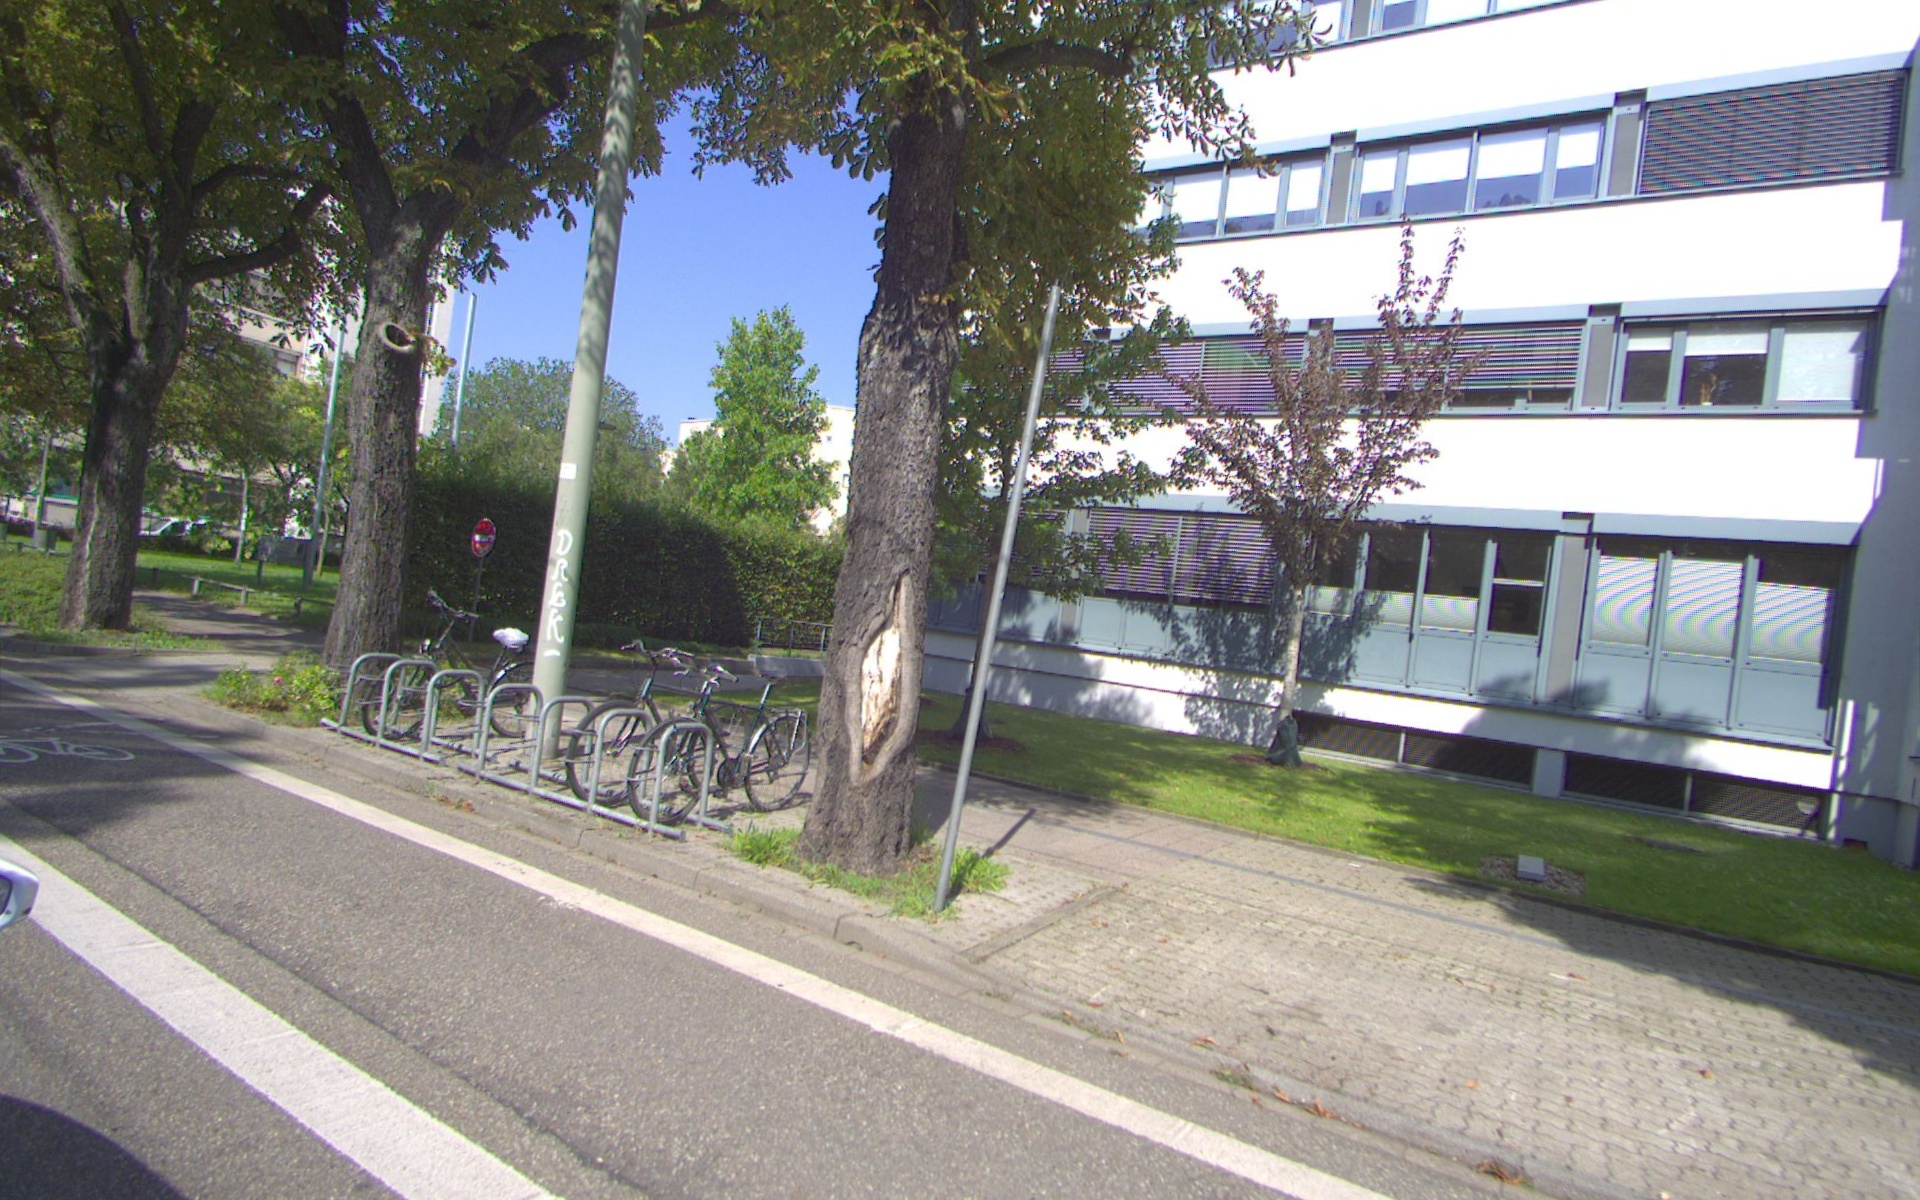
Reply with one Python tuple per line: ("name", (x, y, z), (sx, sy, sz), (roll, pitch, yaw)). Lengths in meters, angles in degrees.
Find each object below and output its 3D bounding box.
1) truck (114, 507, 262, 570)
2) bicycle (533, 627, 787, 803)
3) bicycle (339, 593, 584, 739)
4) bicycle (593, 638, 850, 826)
("truck", (-40.126, -3.160, 52.453), (2.261, 2.352, 5.516), (6, -2, 33))
("bicycle", (-2.086, 0.798, 7.253), (0.531, 1.062, 1.774), (7, 0, 31))
("bicycle", (-4.152, 0.569, 8.528), (0.531, 1.062, 1.774), (7, 0, 31))
("bicycle", (-1.547, 0.856, 6.862), (0.531, 1.062, 1.774), (7, 0, 31))
